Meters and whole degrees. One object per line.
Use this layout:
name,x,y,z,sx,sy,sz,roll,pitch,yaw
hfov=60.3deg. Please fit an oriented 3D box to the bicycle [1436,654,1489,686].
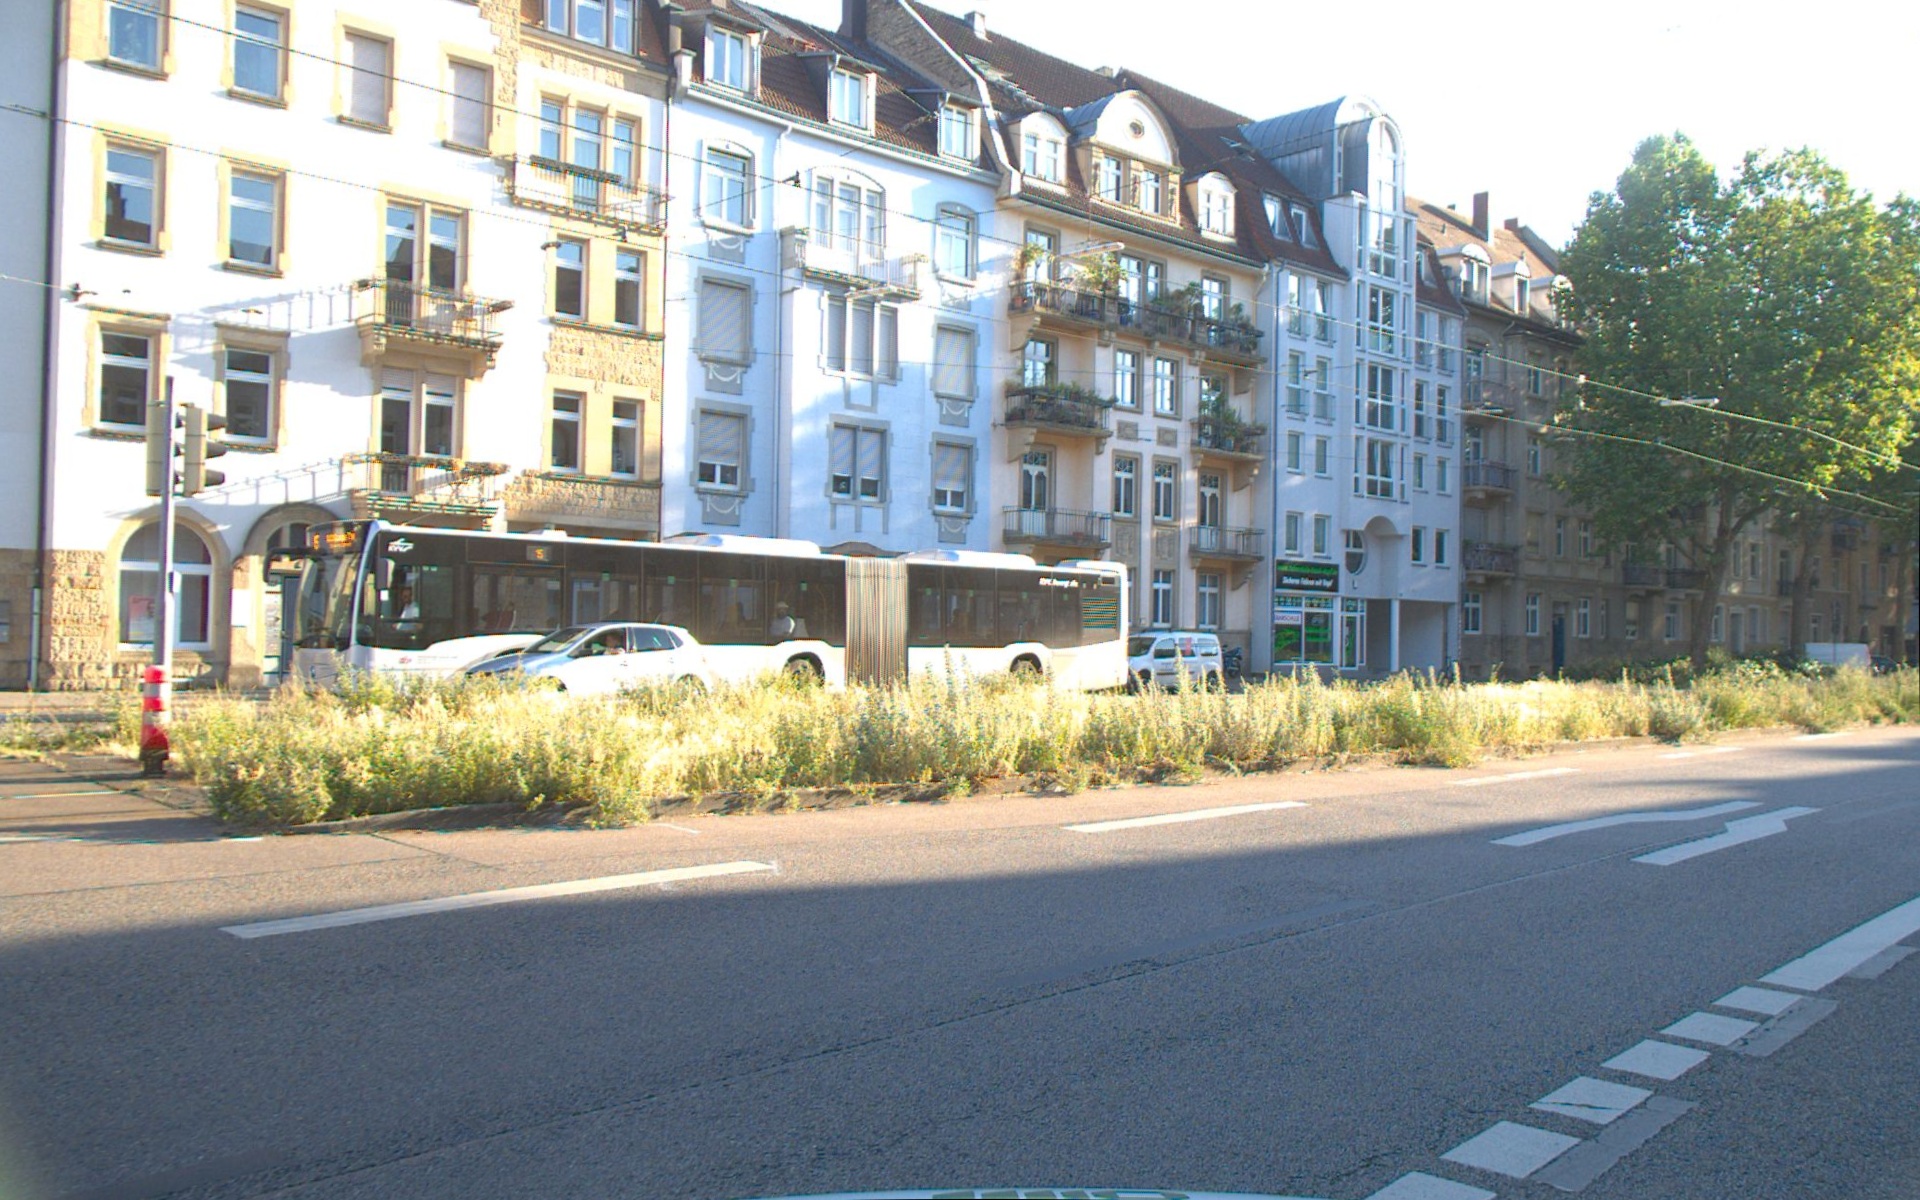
bicycle,18.433,2.567,60.674,1.869,1.050,0.752,2,3,-31

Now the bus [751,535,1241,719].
bus,1.225,0.741,36.107,11.881,3.433,3.213,3,-3,-44

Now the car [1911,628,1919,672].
car,59.039,2.974,96.909,5.375,2.574,2.127,1,-1,4

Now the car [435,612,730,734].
car,-5.735,1.117,25.358,3.964,1.713,1.907,3,-3,-41

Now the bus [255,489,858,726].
bus,-6.565,0.310,28.600,9.820,3.433,3.223,3,-3,-44

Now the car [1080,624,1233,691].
car,5.735,1.683,47.955,4.614,1.818,1.881,3,-3,-43

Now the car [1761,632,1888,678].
car,41.317,2.637,79.108,5.119,2.103,1.722,1,-1,4

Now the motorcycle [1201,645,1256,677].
motorcycle,9.183,2.065,56.427,0.521,1.039,2.402,3,1,45
